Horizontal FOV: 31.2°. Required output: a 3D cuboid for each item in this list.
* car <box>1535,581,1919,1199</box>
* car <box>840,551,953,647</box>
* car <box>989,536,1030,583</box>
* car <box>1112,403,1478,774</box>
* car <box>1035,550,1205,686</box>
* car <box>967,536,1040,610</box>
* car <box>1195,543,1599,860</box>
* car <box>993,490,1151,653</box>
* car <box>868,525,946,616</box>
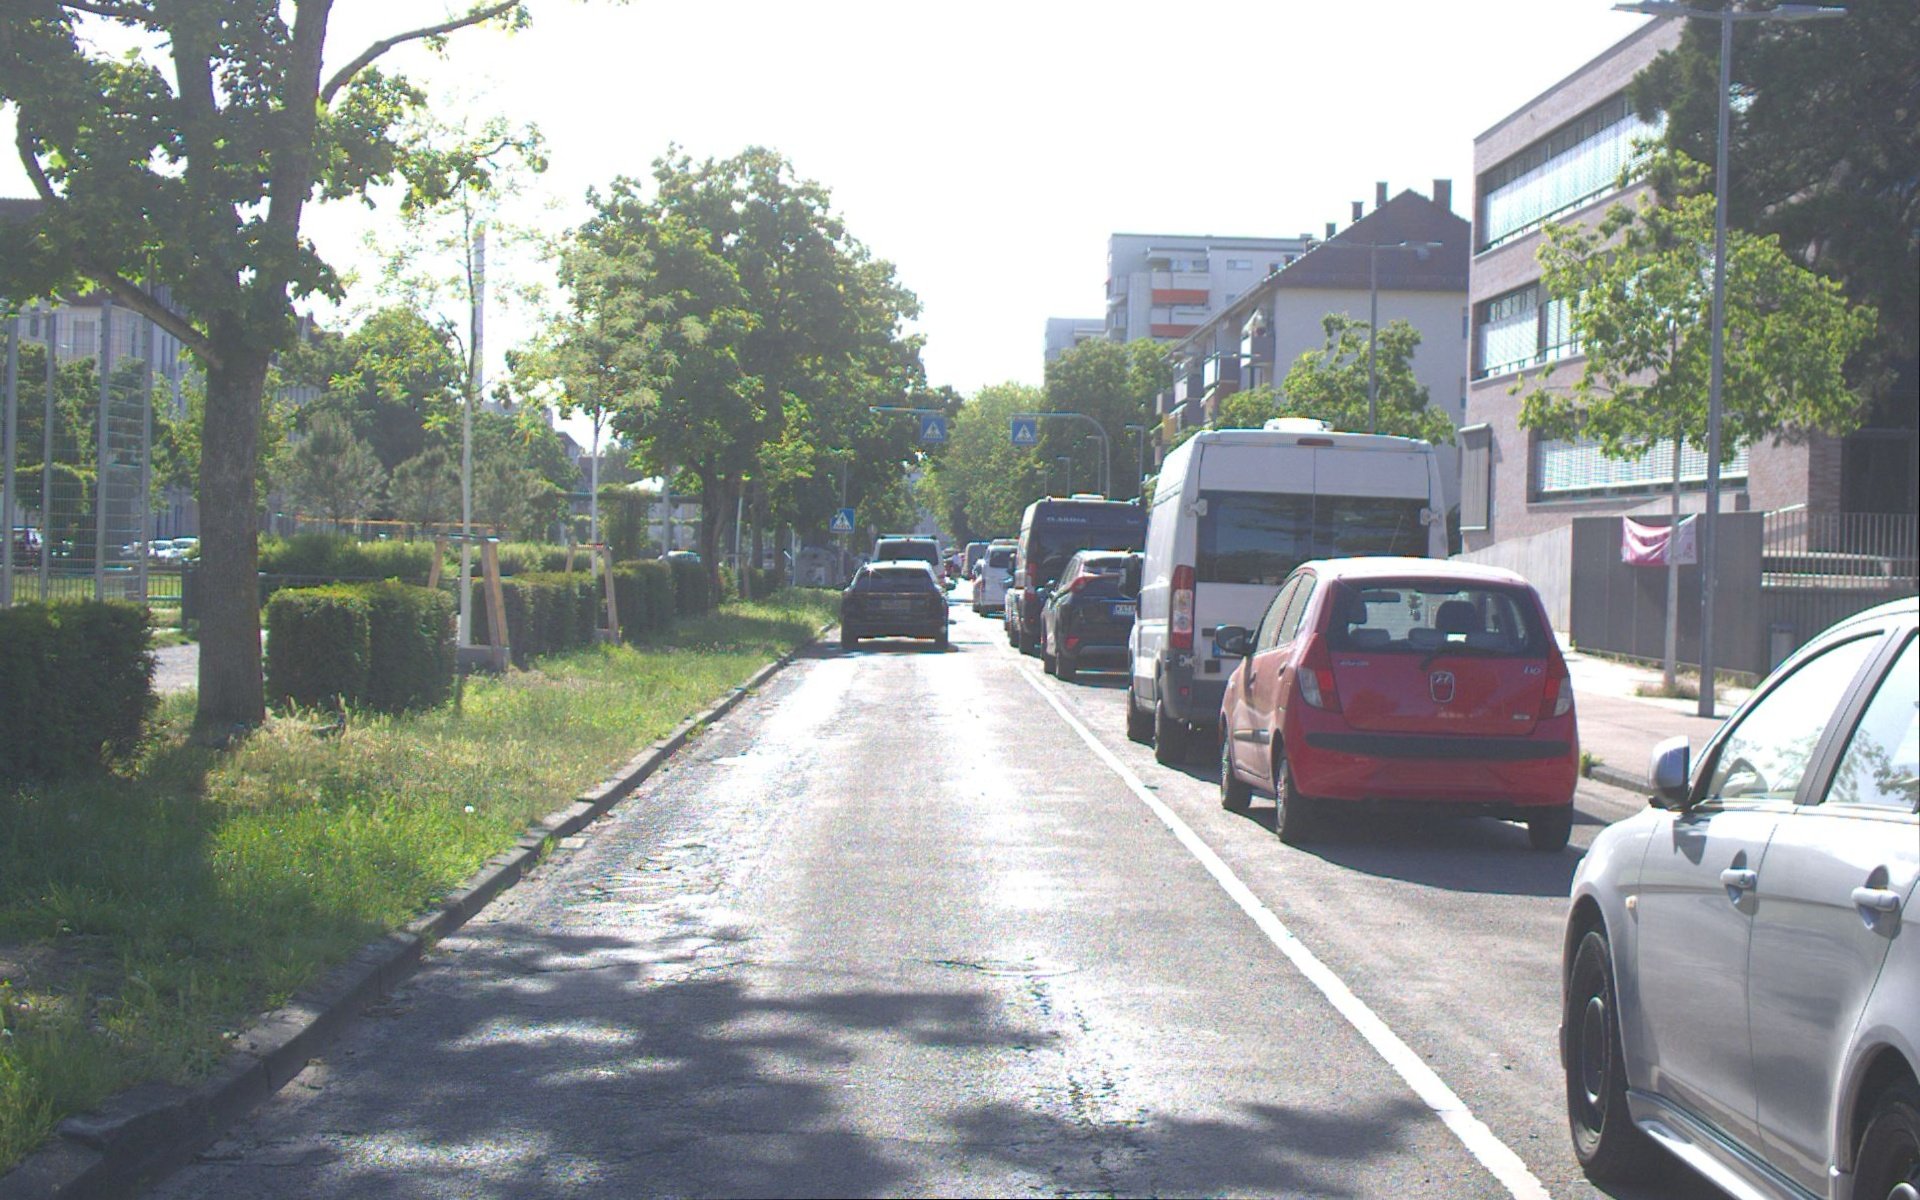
[{"bbox_3d":[2.401,0.746,6.908,1.701,1.473,4.174,2,1,-1],"label":"car"},{"bbox_3d":[-1.048,-0.040,58.042,1.794,1.505,4.000,2,1,0],"label":"car"},{"bbox_3d":[2.711,-2.235,189.160,1.993,2.422,4.500,4,1,0],"label":"car"},{"bbox_3d":[2.513,-0.111,27.264,2.241,2.565,5.432,2,1,0],"label":"car"},{"bbox_3d":[2.031,0.199,44.798,1.846,1.634,4.504,1,1,-1],"label":"car"},{"bbox_3d":[1.169,-0.717,90.616,1.794,1.849,4.413,2,1,1],"label":"car"},{"bbox_3d":[2.382,0.496,19.543,1.619,1.583,3.592,2,1,-3],"label":"car"},{"bbox_3d":[1.788,-0.483,57.216,2.115,2.507,6.532,1,1,-2],"label":"car"},{"bbox_3d":[-1.267,-0.730,83.482,1.794,2.115,4.000,2,1,0],"label":"car"}]
